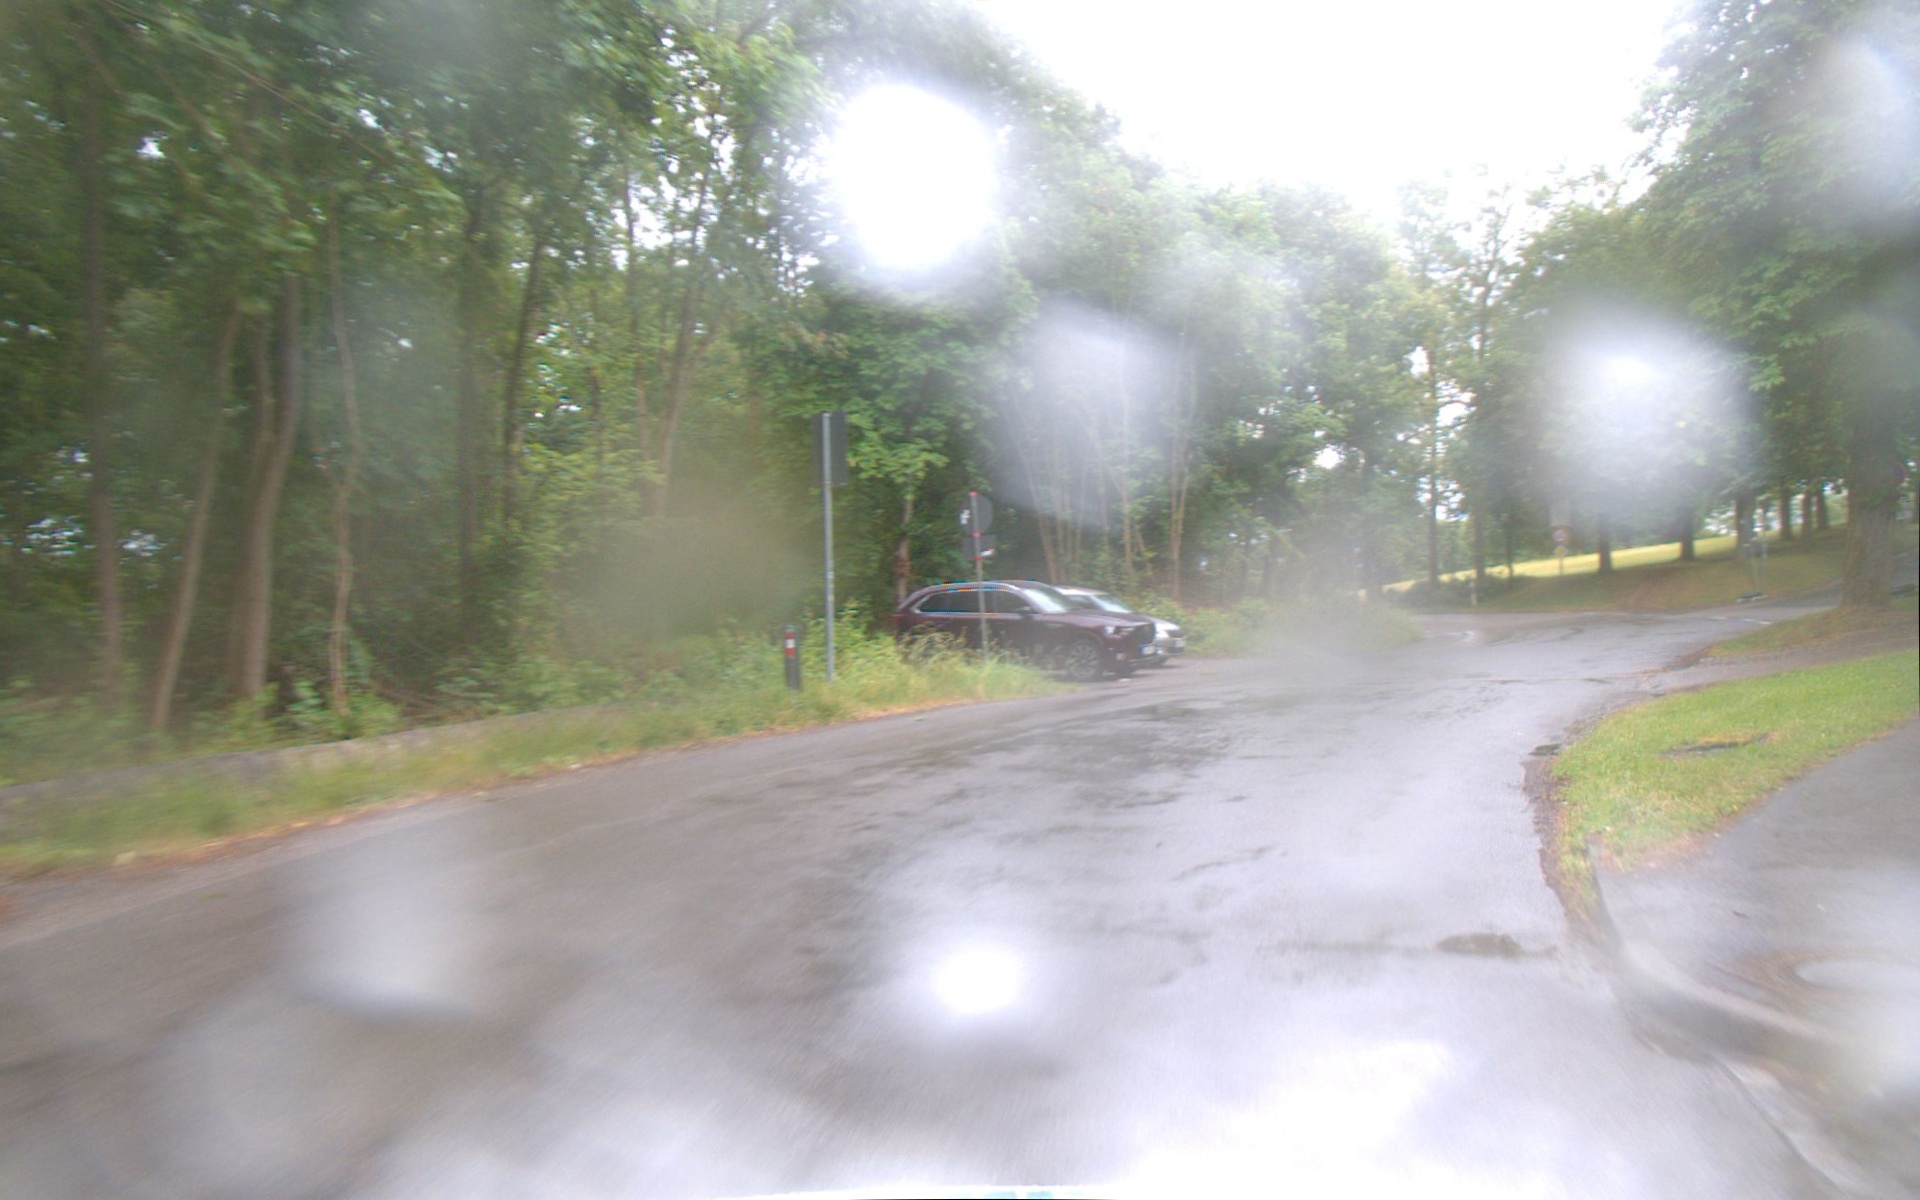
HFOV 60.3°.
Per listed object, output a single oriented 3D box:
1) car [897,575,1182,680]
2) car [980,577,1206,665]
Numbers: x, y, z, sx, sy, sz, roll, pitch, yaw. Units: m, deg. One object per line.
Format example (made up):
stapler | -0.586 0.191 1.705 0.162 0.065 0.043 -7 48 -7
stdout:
car | 1.392 0.496 29.648 4.735 1.706 1.873 -1 1 30
car | 2.607 0.421 32.630 4.061 1.581 1.770 -1 1 32
